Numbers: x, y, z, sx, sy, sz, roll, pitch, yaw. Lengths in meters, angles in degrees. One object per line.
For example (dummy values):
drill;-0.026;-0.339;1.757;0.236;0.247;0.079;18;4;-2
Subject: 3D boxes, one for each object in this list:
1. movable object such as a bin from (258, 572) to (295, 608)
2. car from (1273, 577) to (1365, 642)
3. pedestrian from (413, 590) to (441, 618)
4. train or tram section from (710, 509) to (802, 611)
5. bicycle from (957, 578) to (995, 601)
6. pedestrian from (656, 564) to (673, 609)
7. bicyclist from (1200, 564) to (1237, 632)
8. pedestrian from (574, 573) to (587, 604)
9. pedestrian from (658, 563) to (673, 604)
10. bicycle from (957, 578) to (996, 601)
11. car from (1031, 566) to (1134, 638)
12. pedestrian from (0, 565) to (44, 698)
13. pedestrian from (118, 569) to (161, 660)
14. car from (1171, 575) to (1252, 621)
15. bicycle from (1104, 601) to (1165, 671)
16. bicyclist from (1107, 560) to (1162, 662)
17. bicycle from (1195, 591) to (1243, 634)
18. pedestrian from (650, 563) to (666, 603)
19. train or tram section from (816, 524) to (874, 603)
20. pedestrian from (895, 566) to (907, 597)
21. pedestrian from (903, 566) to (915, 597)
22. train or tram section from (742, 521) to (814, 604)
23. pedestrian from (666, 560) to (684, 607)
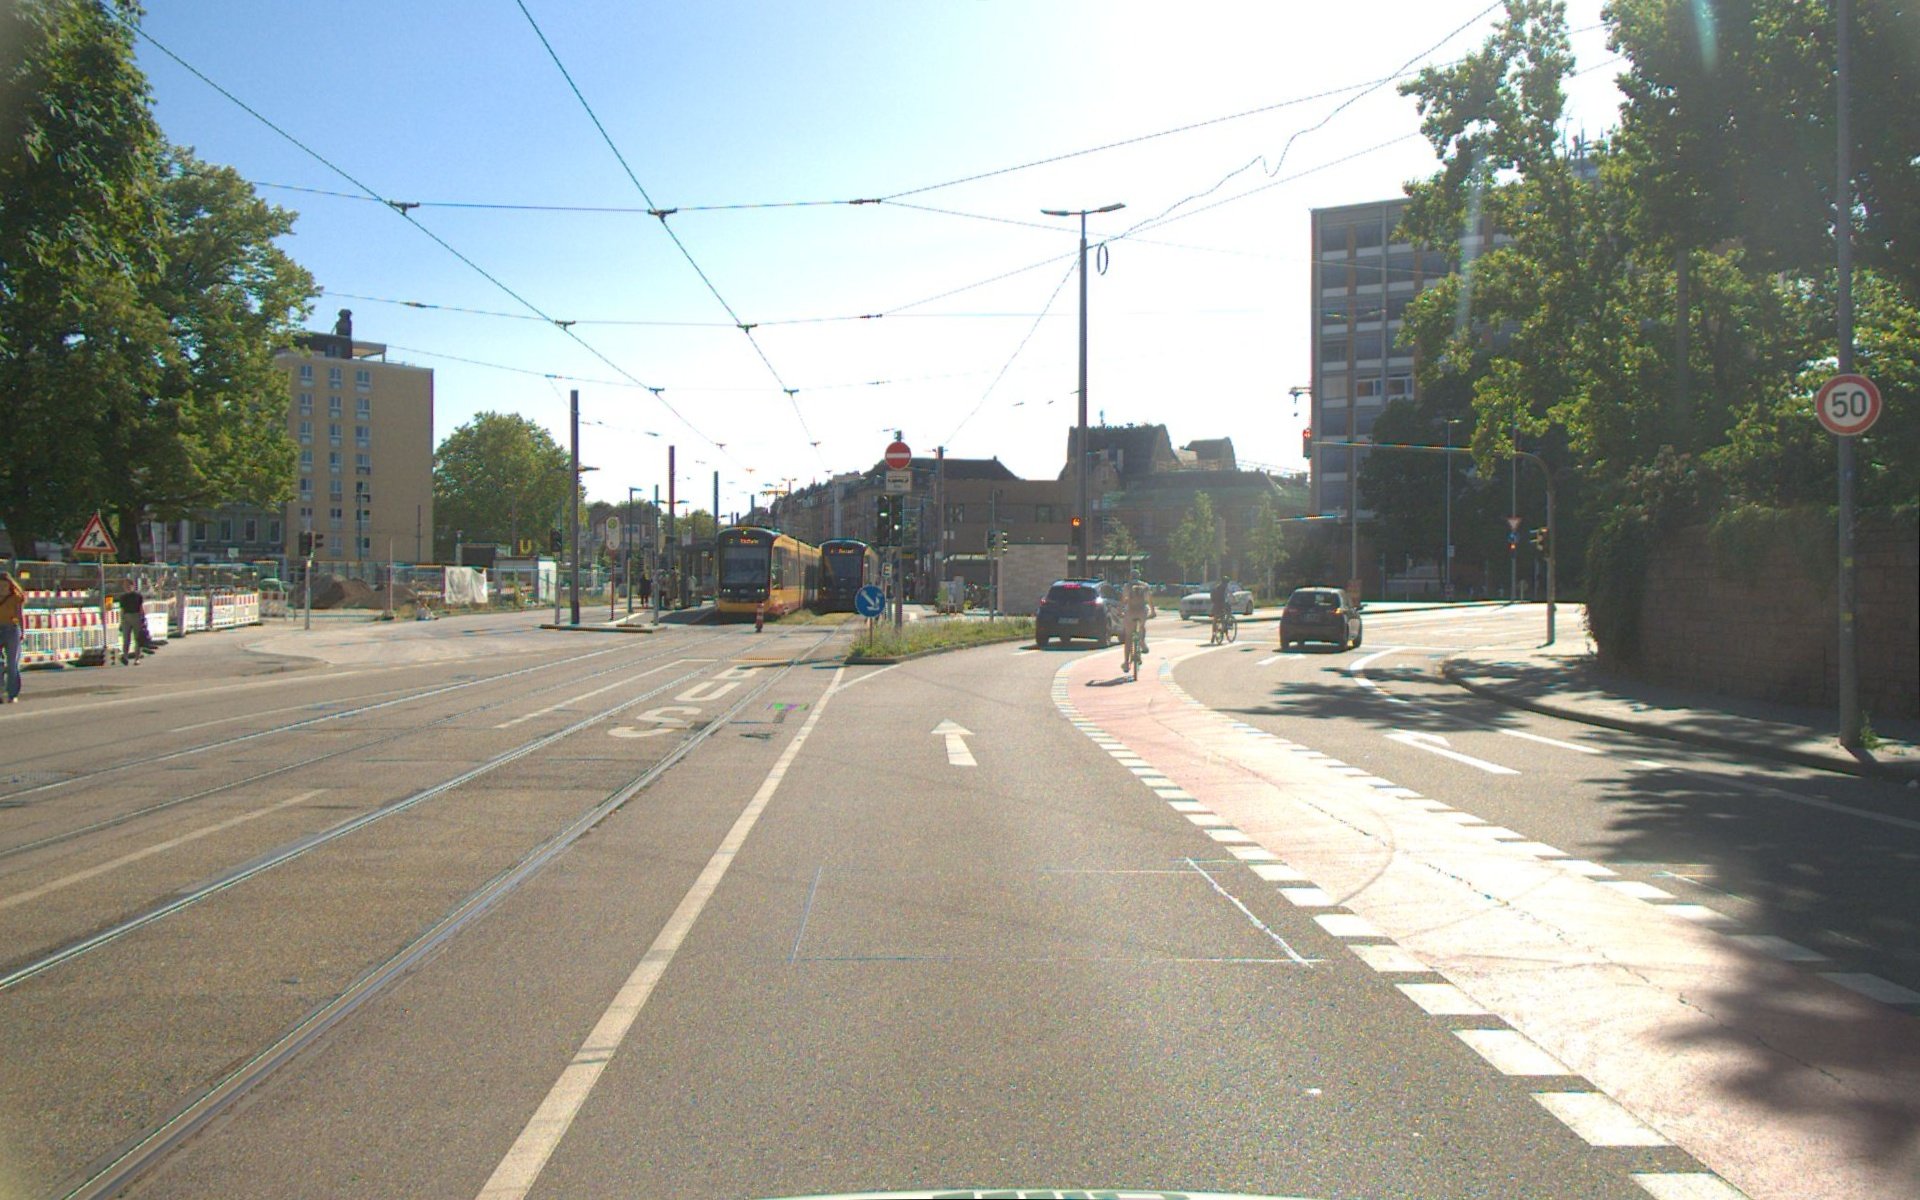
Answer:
movable object such as a bin;-40.093;-0.576;96.984;1.893;2.049;3.969;0;1;-25
car;9.212;0.205;42.297;1.752;1.537;3.713;2;1;20
pedestrian;-20.745;0.156;64.397;0.879;1.064;0.655;0;0;-2
train or tram section;-8.066;-1.564;67.061;2.687;3.715;13.779;0;1;-3
bicycle;0.789;-0.528;83.552;1.896;1.122;0.598;0;1;-5
pedestrian;-12.504;-0.572;70.056;0.614;1.859;0.662;0;0;-3
bicyclist;6.827;-0.064;43.632;0.690;1.730;0.987;3;2;22
pedestrian;-21.163;-0.630;92.197;0.614;1.727;0.662;0;0;-3
pedestrian;-13.264;-0.753;74.468;0.614;1.859;0.662;0;0;-3
bicycle;0.838;-0.523;82.784;1.896;1.122;0.598;0;1;-5
car;3.076;0.023;40.879;1.751;1.632;3.715;2;1;16
pedestrian;-12.710;0.414;21.952;0.623;1.726;0.819;-1;0;-2
pedestrian;-15.753;0.265;31.778;0.608;1.726;0.676;0;0;-15
car;9.661;-0.089;63.300;1.671;1.672;3.702;2;1;33
bicycle;3.026;0.603;28.601;0.690;1.124;1.718;2;1;17
bicyclist;3.026;0.170;28.560;0.690;1.704;1.102;2;1;17
bicycle;6.866;0.319;43.771;0.690;1.073;2.313;3;2;22
pedestrian;-13.899;-0.778;76.150;0.614;1.859;0.662;0;0;-3
train or tram section;-5.797;-1.857;84.979;2.687;3.715;13.779;0;1;-3
pedestrian;-3.796;-1.187;105.971;0.649;1.987;0.626;0;0;-14
pedestrian;-3.348;-1.195;108.045;0.649;1.987;0.626;0;0;-14
train or tram section;-8.694;-1.787;80.202;2.687;3.715;12.538;0;1;-3
pedestrian;-11.193;-0.655;64.911;0.614;1.859;0.662;0;0;-3
